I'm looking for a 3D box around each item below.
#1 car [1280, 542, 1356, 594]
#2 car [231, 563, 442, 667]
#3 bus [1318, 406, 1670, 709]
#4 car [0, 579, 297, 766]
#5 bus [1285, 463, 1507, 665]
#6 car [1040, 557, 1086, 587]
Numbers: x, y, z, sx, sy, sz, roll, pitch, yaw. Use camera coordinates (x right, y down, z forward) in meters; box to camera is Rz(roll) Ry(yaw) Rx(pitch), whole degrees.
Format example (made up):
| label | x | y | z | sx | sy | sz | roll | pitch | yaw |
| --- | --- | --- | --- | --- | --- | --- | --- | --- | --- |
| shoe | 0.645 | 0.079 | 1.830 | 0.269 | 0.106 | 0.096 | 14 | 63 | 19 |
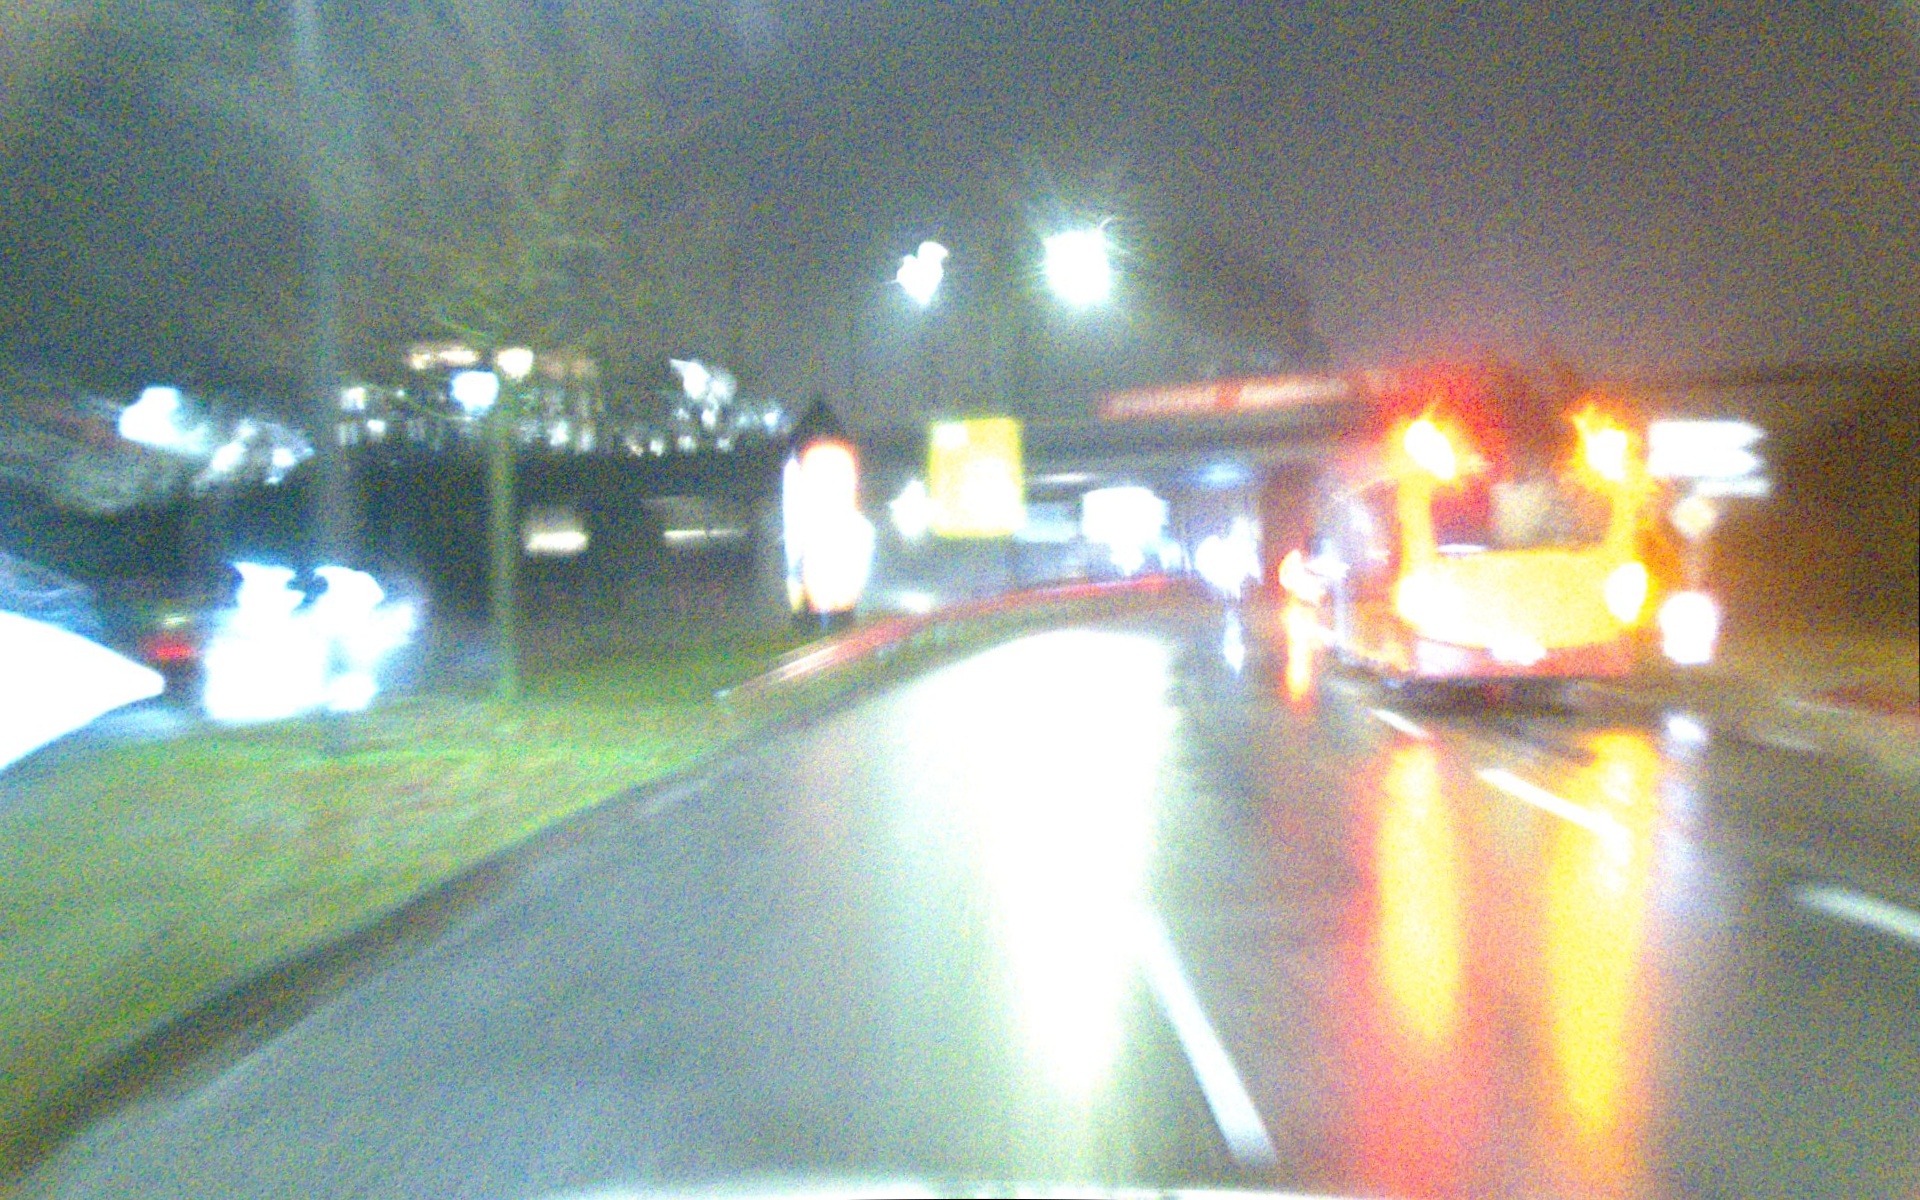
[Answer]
| label | x | y | z | sx | sy | sz | roll | pitch | yaw |
| --- | --- | --- | --- | --- | --- | --- | --- | --- | --- |
| car | 12.535 | -1.149 | 57.793 | 1.752 | 1.713 | 3.998 | 0 | 2 | 25 |
| car | -10.769 | 0.202 | 28.902 | 1.952 | 1.621 | 4.002 | -2 | 1 | 3 |
| bus | 6.772 | -0.549 | 22.530 | 2.978 | 3.268 | 9.058 | 1 | 1 | 8 |
| car | -8.403 | 0.611 | 15.783 | 1.827 | 1.489 | 4.643 | -3 | 1 | 6 |
| bus | 7.989 | -0.676 | 31.499 | 2.978 | 3.268 | 9.058 | 1 | 1 | 8 |
| car | 5.273 | -1.453 | 84.230 | 1.533 | 1.451 | 3.956 | 0 | 2 | 16 |
